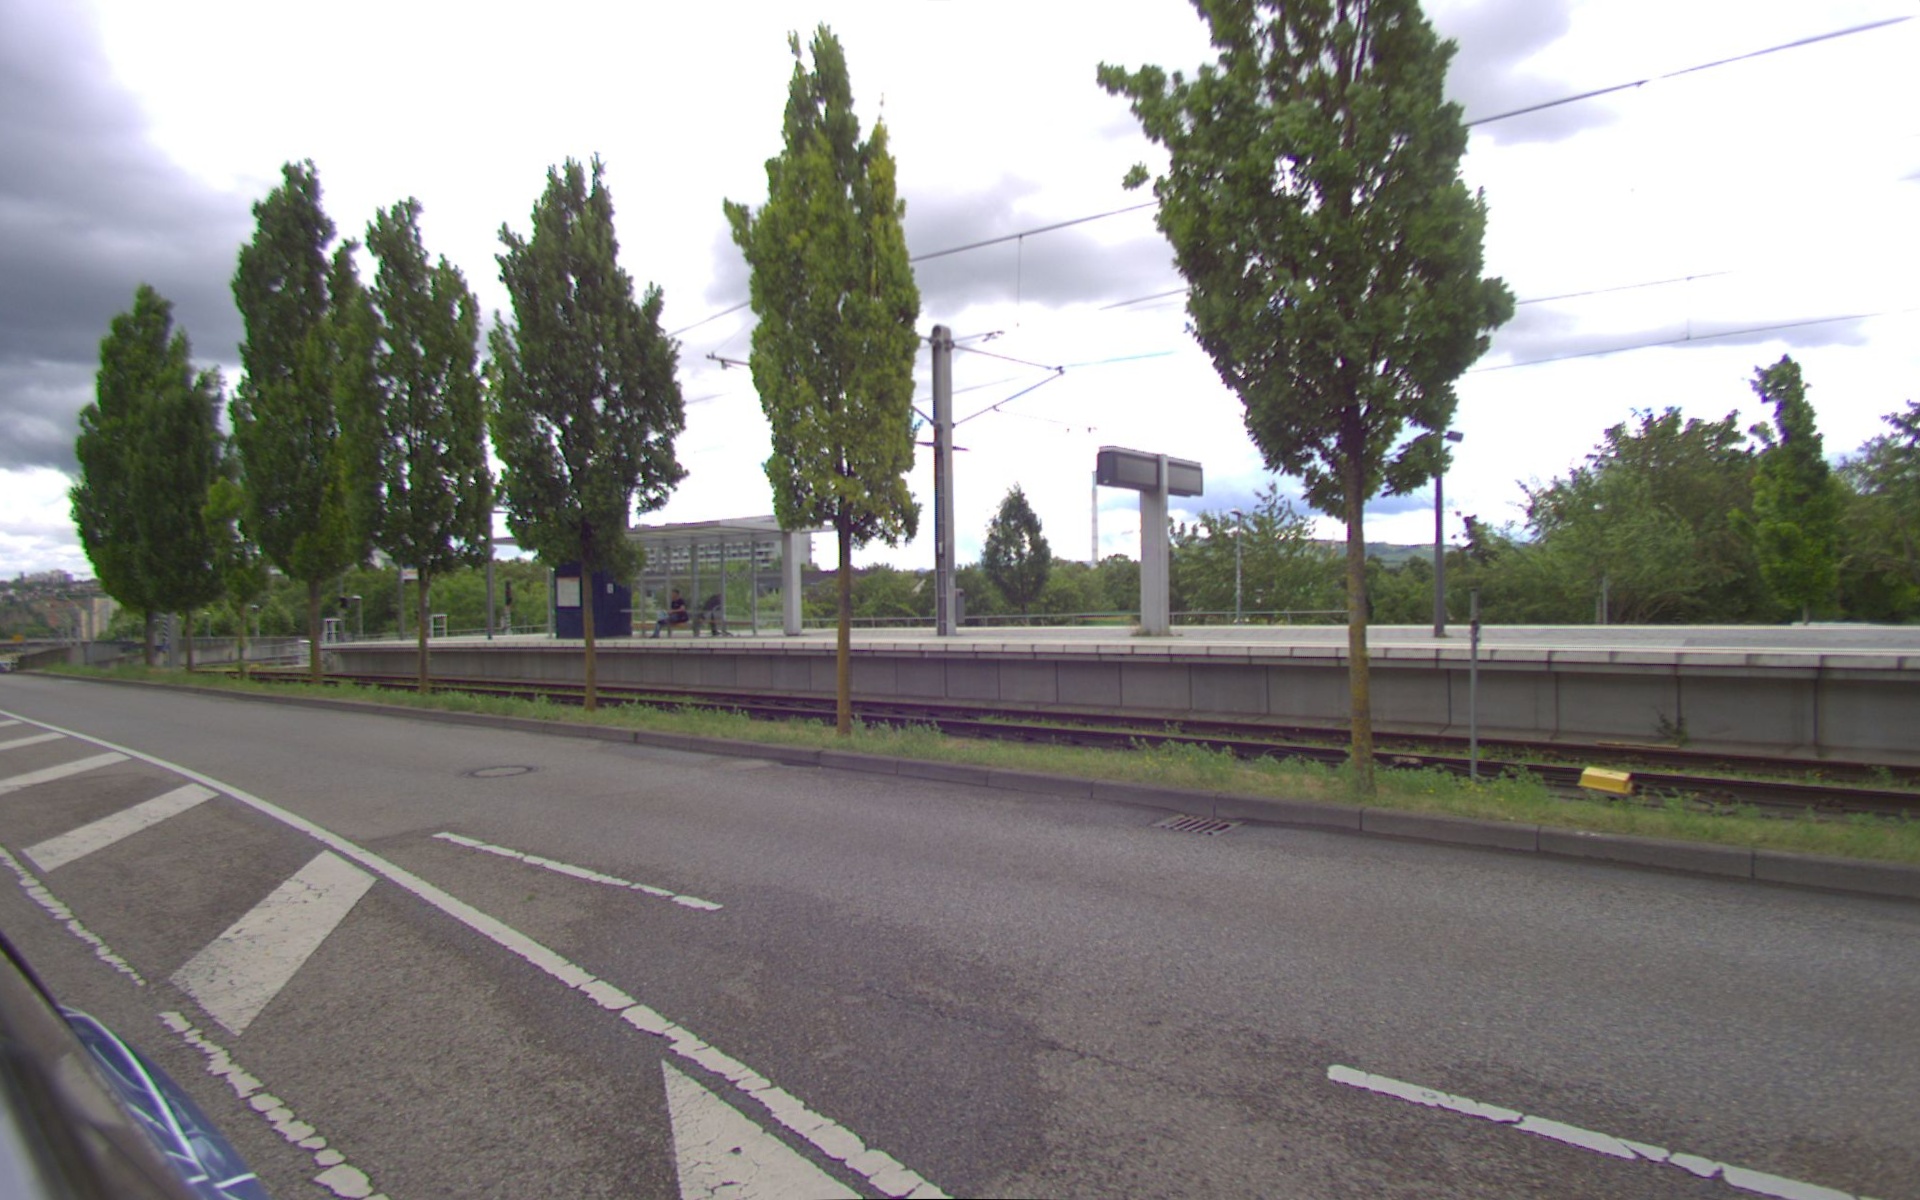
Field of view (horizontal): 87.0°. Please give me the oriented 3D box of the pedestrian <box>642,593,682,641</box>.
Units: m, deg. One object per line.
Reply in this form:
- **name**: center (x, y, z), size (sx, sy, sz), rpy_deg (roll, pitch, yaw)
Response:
- **pedestrian**: center (-7.706, 0.432, 26.183), size (0.665, 1.208, 0.754), rpy_deg (-2, -2, 39)

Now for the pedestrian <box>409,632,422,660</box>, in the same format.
- **pedestrian**: center (-32.607, 2.758, 60.638), size (0.646, 1.637, 0.501), rpy_deg (-4, -3, 45)

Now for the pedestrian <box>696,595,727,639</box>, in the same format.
- **pedestrian**: center (-6.424, 0.439, 26.194), size (0.470, 1.087, 0.601), rpy_deg (-4, -3, 39)
